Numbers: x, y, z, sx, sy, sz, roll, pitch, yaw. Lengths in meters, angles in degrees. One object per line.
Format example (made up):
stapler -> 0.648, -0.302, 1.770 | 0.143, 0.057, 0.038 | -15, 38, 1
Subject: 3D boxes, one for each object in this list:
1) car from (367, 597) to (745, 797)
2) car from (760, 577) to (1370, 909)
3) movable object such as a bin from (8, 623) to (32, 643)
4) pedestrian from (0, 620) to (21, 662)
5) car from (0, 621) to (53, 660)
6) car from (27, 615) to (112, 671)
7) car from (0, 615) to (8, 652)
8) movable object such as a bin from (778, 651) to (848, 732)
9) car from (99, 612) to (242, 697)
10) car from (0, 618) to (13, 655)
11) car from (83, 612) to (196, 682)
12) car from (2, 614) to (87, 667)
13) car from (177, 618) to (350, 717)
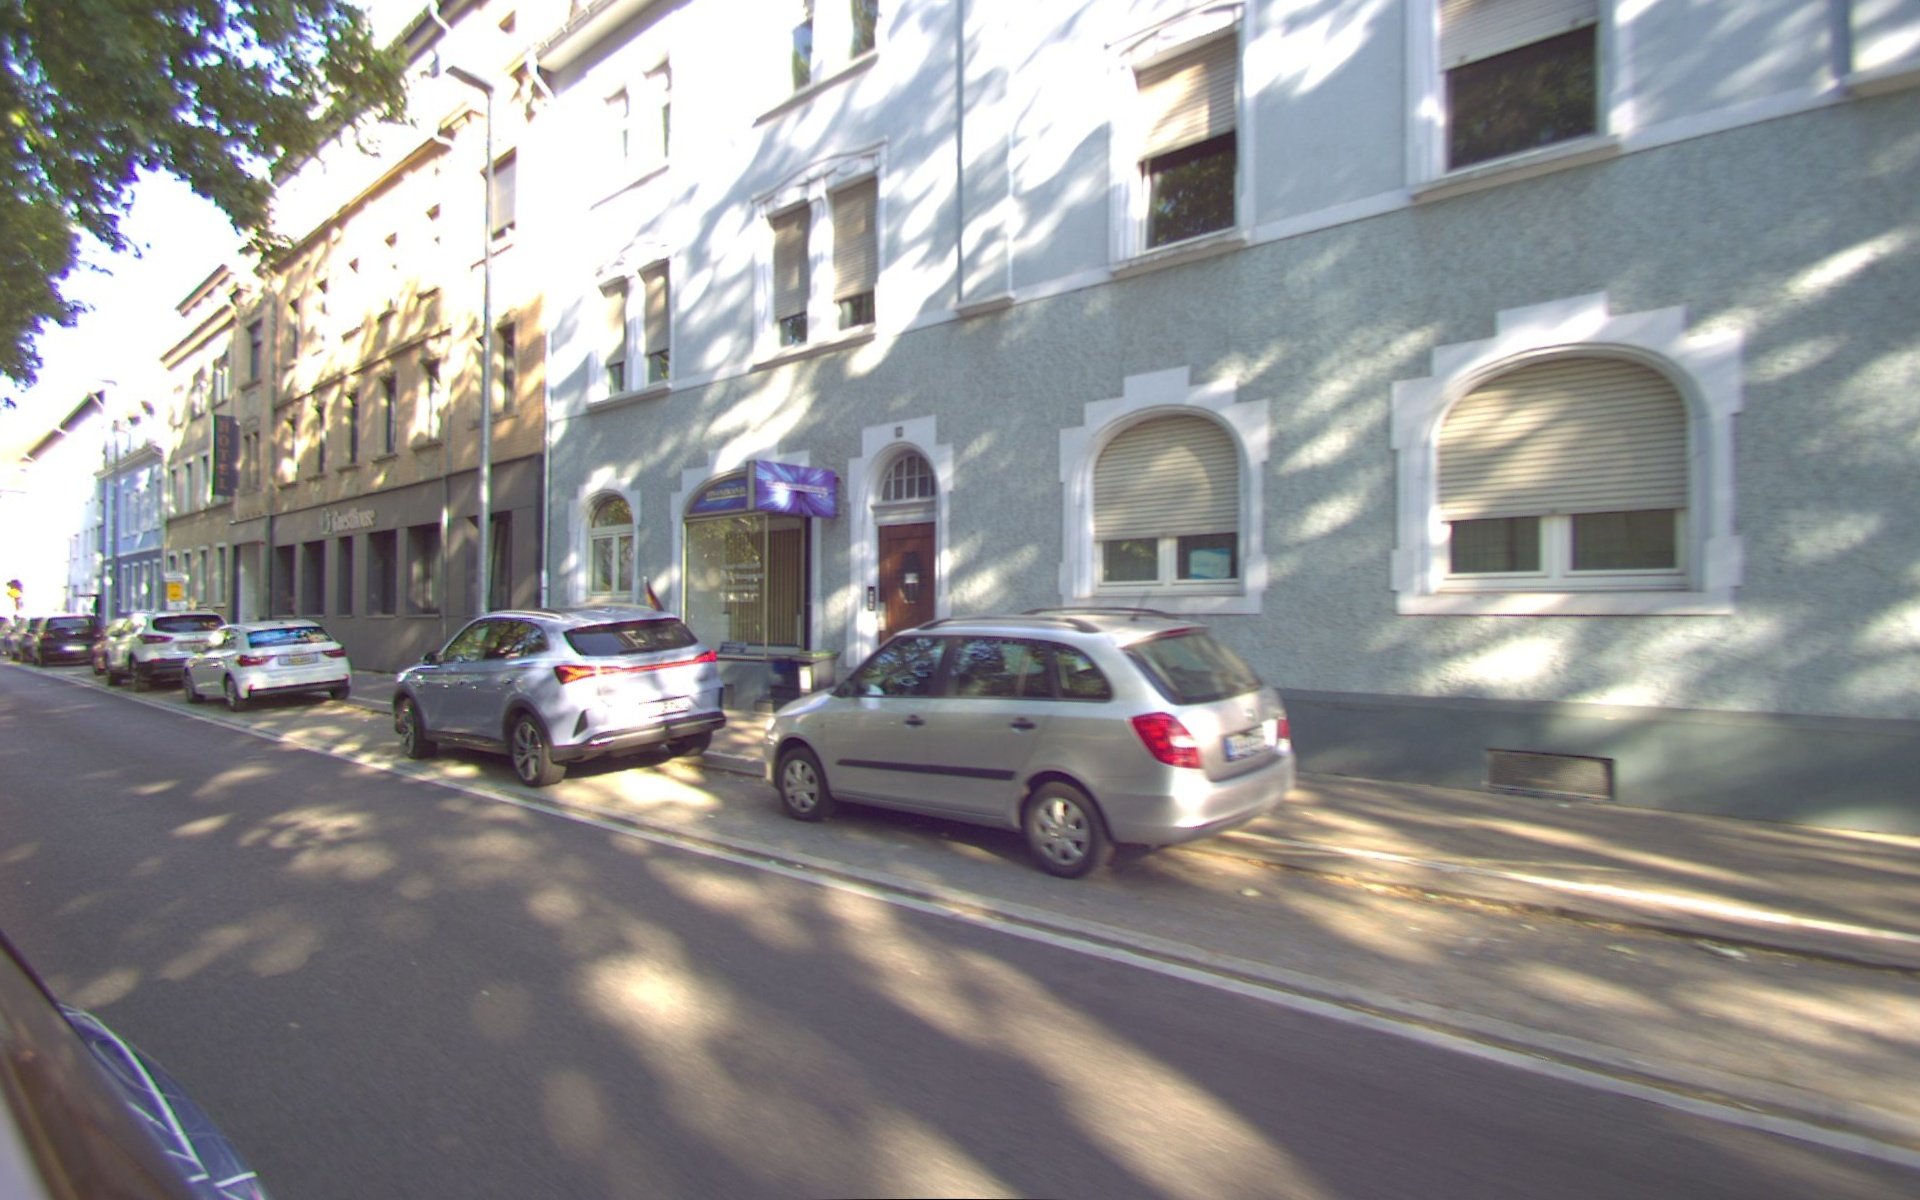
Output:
car -> -4.434, 0.843, 10.718 | 4.576, 1.654, 1.888 | -1, 0, 42
car -> 0.514, 0.735, 7.011 | 3.983, 1.654, 1.660 | -1, 0, 42
movable object such as a bin -> -61.797, 2.142, 66.518 | 1.018, 1.296, 1.064 | 2, -2, -37
pedestrian -> -36.205, 1.560, 38.358 | 0.706, 1.582, 0.853 | -1, -2, 44
car -> -38.577, 1.625, 41.371 | 4.259, 1.498, 1.633 | -1, 0, 40
car -> -27.662, 1.283, 31.405 | 3.706, 1.617, 1.659 | -1, 0, 44
car -> -50.006, 1.712, 51.776 | 4.005, 1.832, 1.646 | -1, 0, 43
movable object such as a bin -> -1.838, 1.128, 12.660 | 0.669, 0.954, 0.551 | -1, -3, 41
car -> -16.732, 1.080, 21.378 | 4.199, 1.597, 1.660 | -1, 0, 42
car -> -46.011, 1.705, 47.691 | 4.495, 1.685, 1.884 | -1, 0, 45
car -> -20.824, 1.135, 25.649 | 3.755, 1.604, 1.660 | -1, 0, 42
car -> -31.604, 1.366, 34.891 | 4.155, 1.685, 1.763 | -1, 0, 42
car -> -12.298, 1.094, 17.783 | 3.870, 1.507, 1.660 | -1, 0, 42
